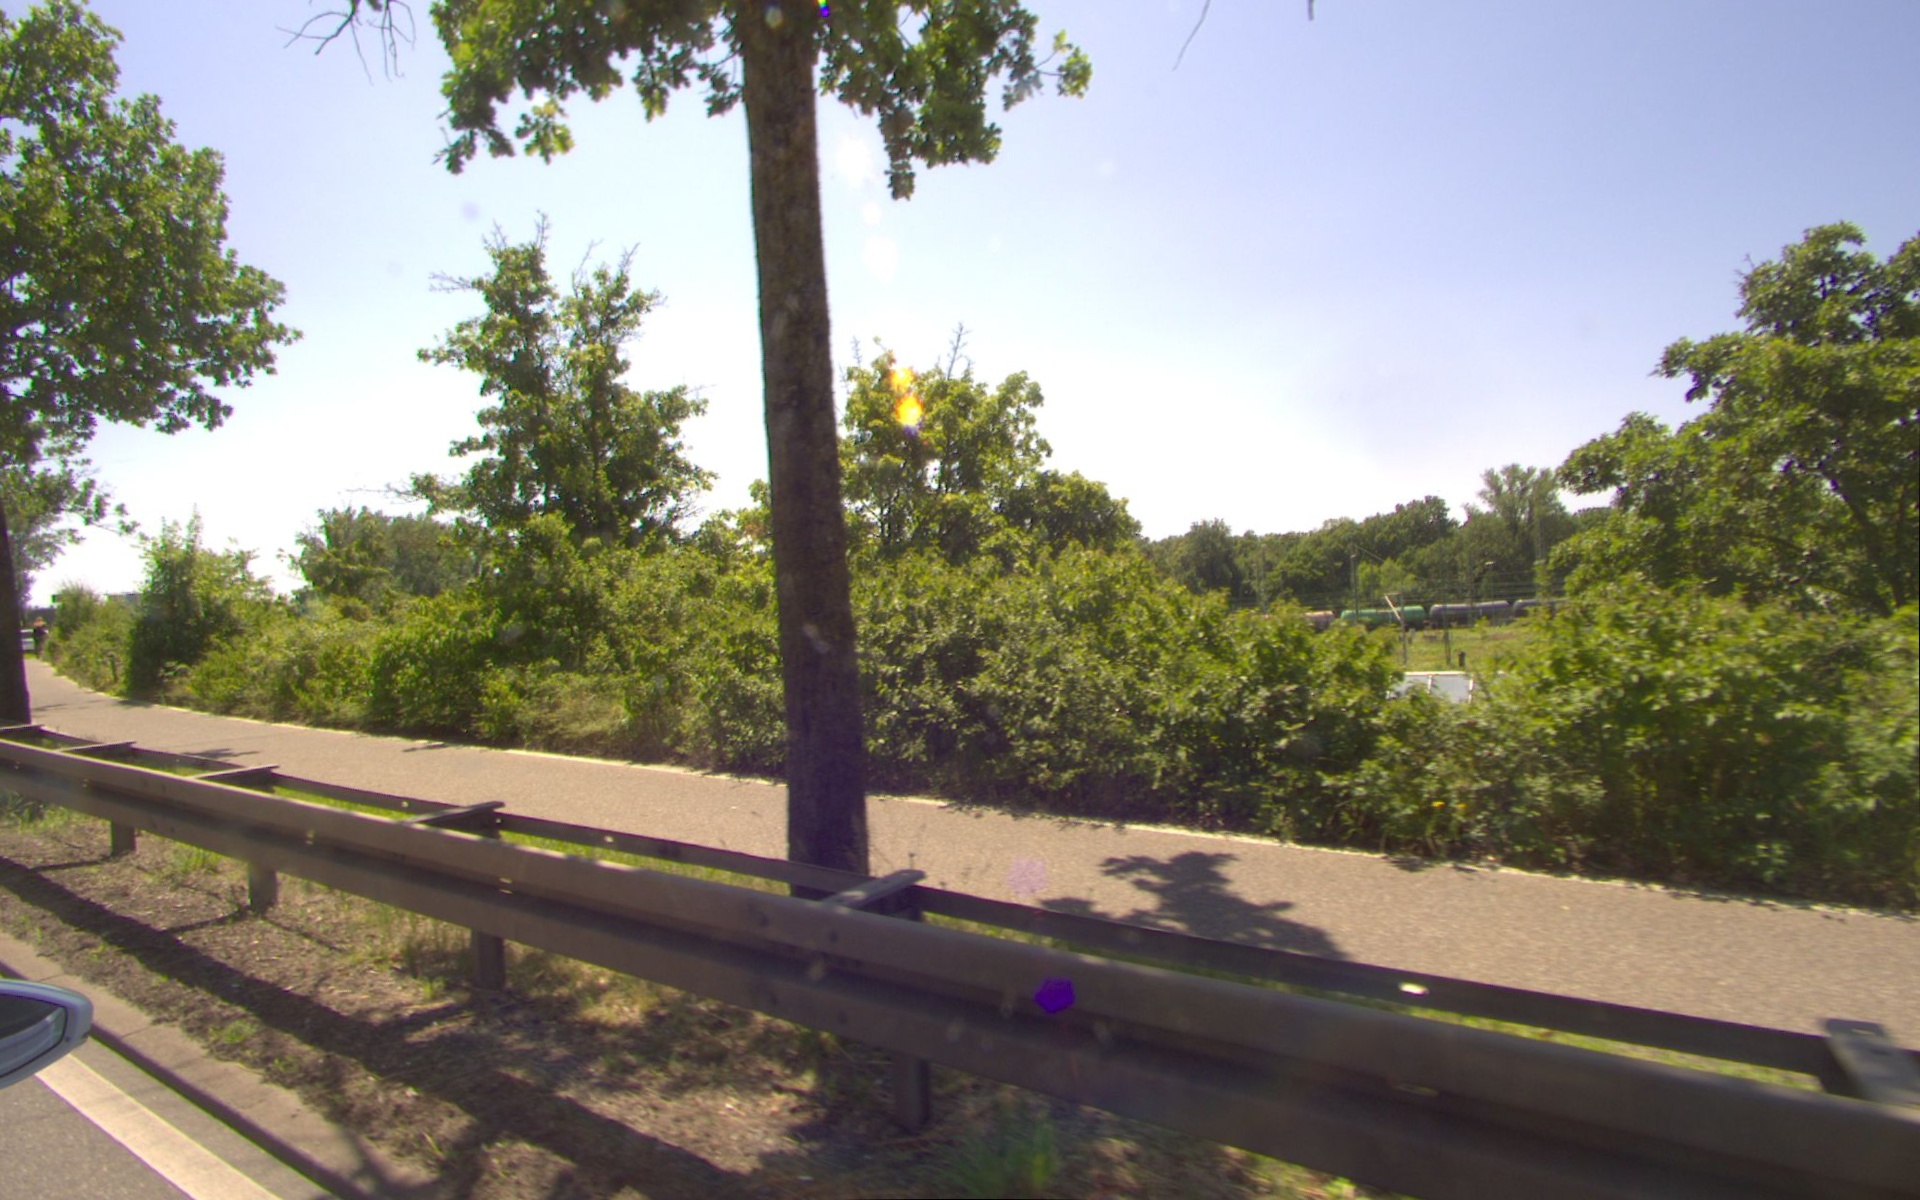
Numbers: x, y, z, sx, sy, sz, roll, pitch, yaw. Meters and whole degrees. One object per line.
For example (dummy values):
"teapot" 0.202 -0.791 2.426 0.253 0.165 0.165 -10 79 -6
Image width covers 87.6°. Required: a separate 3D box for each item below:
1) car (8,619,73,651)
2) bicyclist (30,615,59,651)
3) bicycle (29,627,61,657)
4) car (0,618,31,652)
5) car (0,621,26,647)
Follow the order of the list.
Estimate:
"car" -53.175 2.018 57.991 1.973 1.790 4.727 0 -2 -32
"bicyclist" -39.257 1.406 42.956 0.853 1.543 0.972 0 -1 -39
"bicycle" -39.231 1.778 42.953 0.853 1.252 2.292 0 -2 -38
"car" -49.841 1.811 51.722 1.974 1.739 4.838 1 -2 -34
"car" -58.437 2.062 60.661 1.729 1.575 4.109 0 -2 -28
